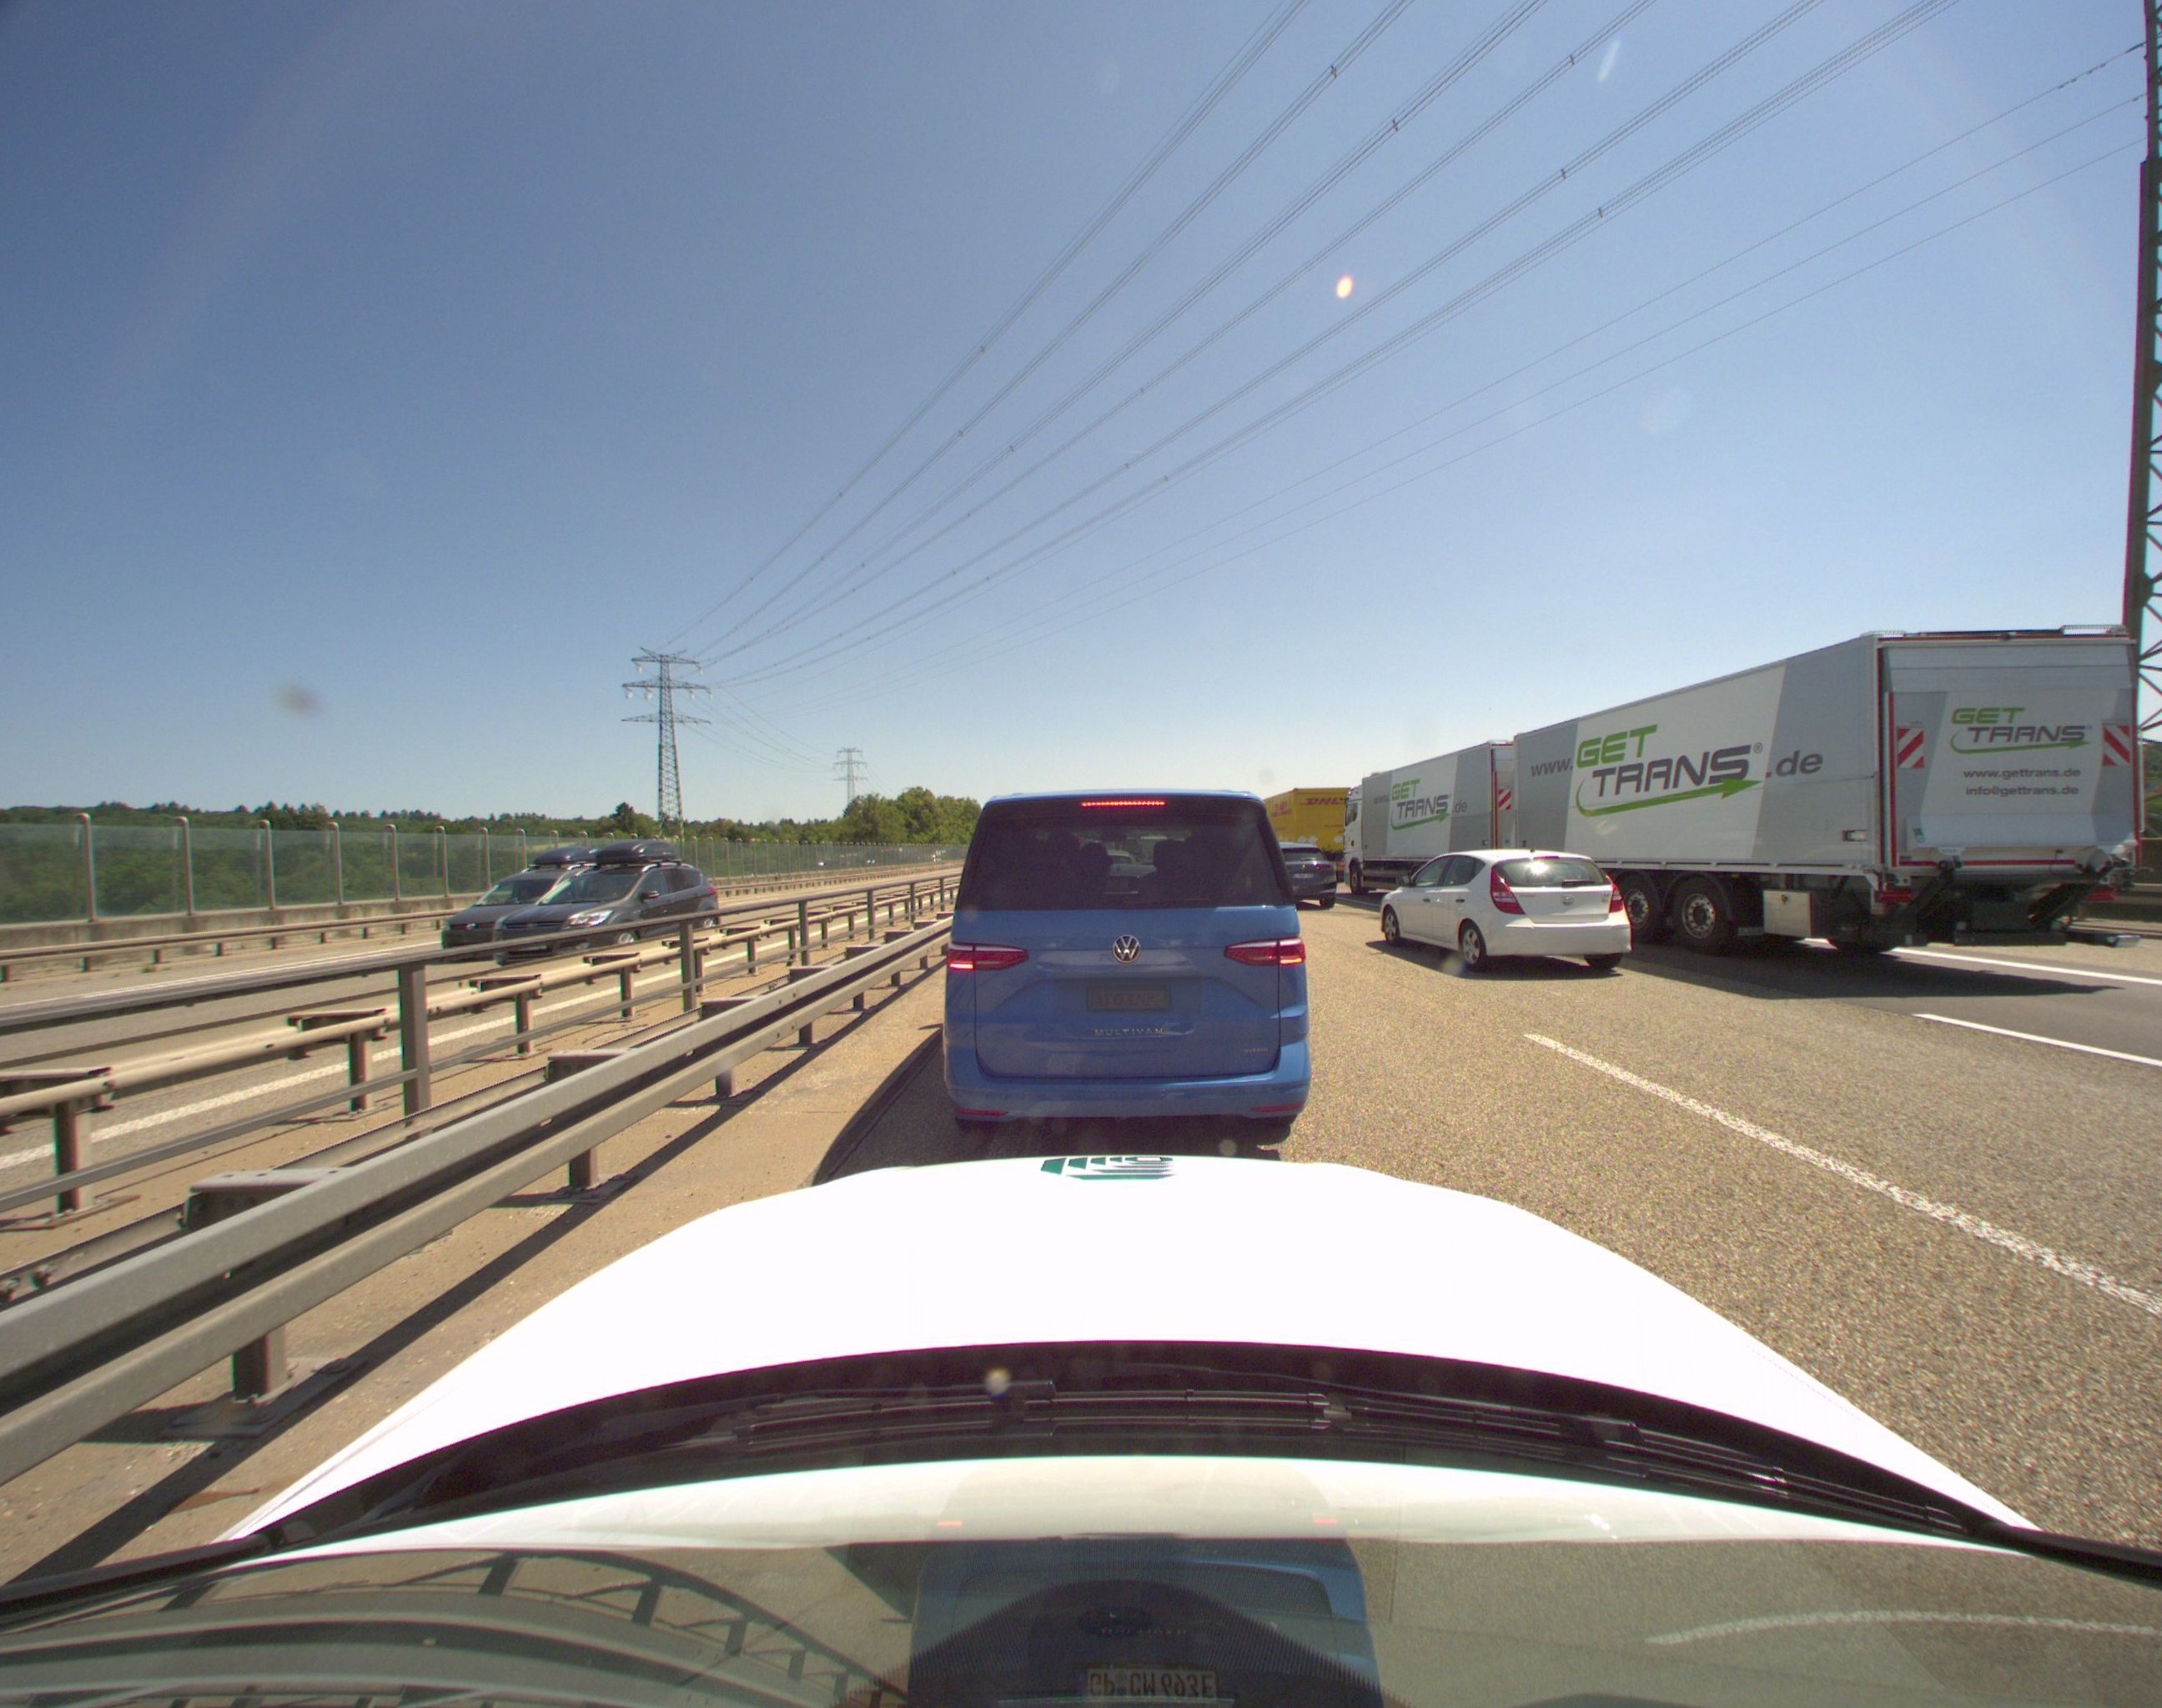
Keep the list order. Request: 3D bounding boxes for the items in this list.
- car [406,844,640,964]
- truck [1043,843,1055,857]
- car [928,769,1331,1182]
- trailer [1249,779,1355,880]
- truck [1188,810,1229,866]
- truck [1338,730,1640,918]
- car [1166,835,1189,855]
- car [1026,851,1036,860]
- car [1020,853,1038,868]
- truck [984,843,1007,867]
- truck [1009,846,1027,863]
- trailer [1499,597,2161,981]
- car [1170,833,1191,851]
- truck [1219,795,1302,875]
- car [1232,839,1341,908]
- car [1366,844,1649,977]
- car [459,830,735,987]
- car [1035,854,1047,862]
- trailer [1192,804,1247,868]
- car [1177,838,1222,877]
[{"bbox_3d":[-12.015,0.966,17.976,1.986,2.215,4.269,-4,0,1],"label":"car"},{"bbox_3d":[-7.960,-0.893,204.038,2.553,3.359,8.863,-3,0,0],"label":"truck"},{"bbox_3d":[0.286,0.555,5.735,1.813,1.857,4.076,-1,0,2],"label":"car"},{"bbox_3d":[10.225,-1.011,38.808,2.854,4.239,9.015,-1,0,2],"label":"trailer"},{"bbox_3d":[10.854,-1.300,70.053,2.657,4.484,6.853,-1,0,2],"label":"truck"},{"bbox_3d":[9.751,-0.612,21.516,2.647,3.648,11.014,-1,0,1],"label":"truck"},{"bbox_3d":[9.932,-0.885,83.934,1.986,2.014,4.002,-1,0,2],"label":"car"},{"bbox_3d":[-12.753,0.283,209.651,2.074,2.149,4.314,-4,0,2],"label":"car"},{"bbox_3d":[-5.823,0.726,91.515,1.613,1.464,3.703,-3,0,2],"label":"car"},{"bbox_3d":[-12.889,0.183,122.929,2.488,3.365,5.836,-4,0,2],"label":"truck"},{"bbox_3d":[-12.443,0.131,162.243,2.510,3.110,8.724,-5,0,1],"label":"truck"},{"bbox_3d":[9.513,-0.653,12.001,2.688,3.700,8.017,-1,0,1],"label":"trailer"},{"bbox_3d":[11.927,-1.380,97.969,1.986,2.013,4.463,-2,0,2],"label":"car"},{"bbox_3d":[10.482,-0.996,48.815,2.826,4.243,11.014,-1,0,1],"label":"truck"},{"bbox_3d":[5.398,0.464,21.950,1.954,1.644,4.295,-1,0,2],"label":"car"},{"bbox_3d":[5.568,0.633,11.350,1.782,1.455,4.295,-1,0,2],"label":"car"},{"bbox_3d":[-7.886,0.779,13.867,1.856,2.131,4.271,-4,0,2],"label":"car"},{"bbox_3d":[-7.772,0.794,157.255,1.856,1.444,4.132,-4,0,2],"label":"car"},{"bbox_3d":[10.594,-1.284,63.250,2.627,4.516,11.306,-1,0,2],"label":"trailer"},{"bbox_3d":[6.449,0.196,44.668,1.954,1.993,4.295,-1,0,2],"label":"car"}]
